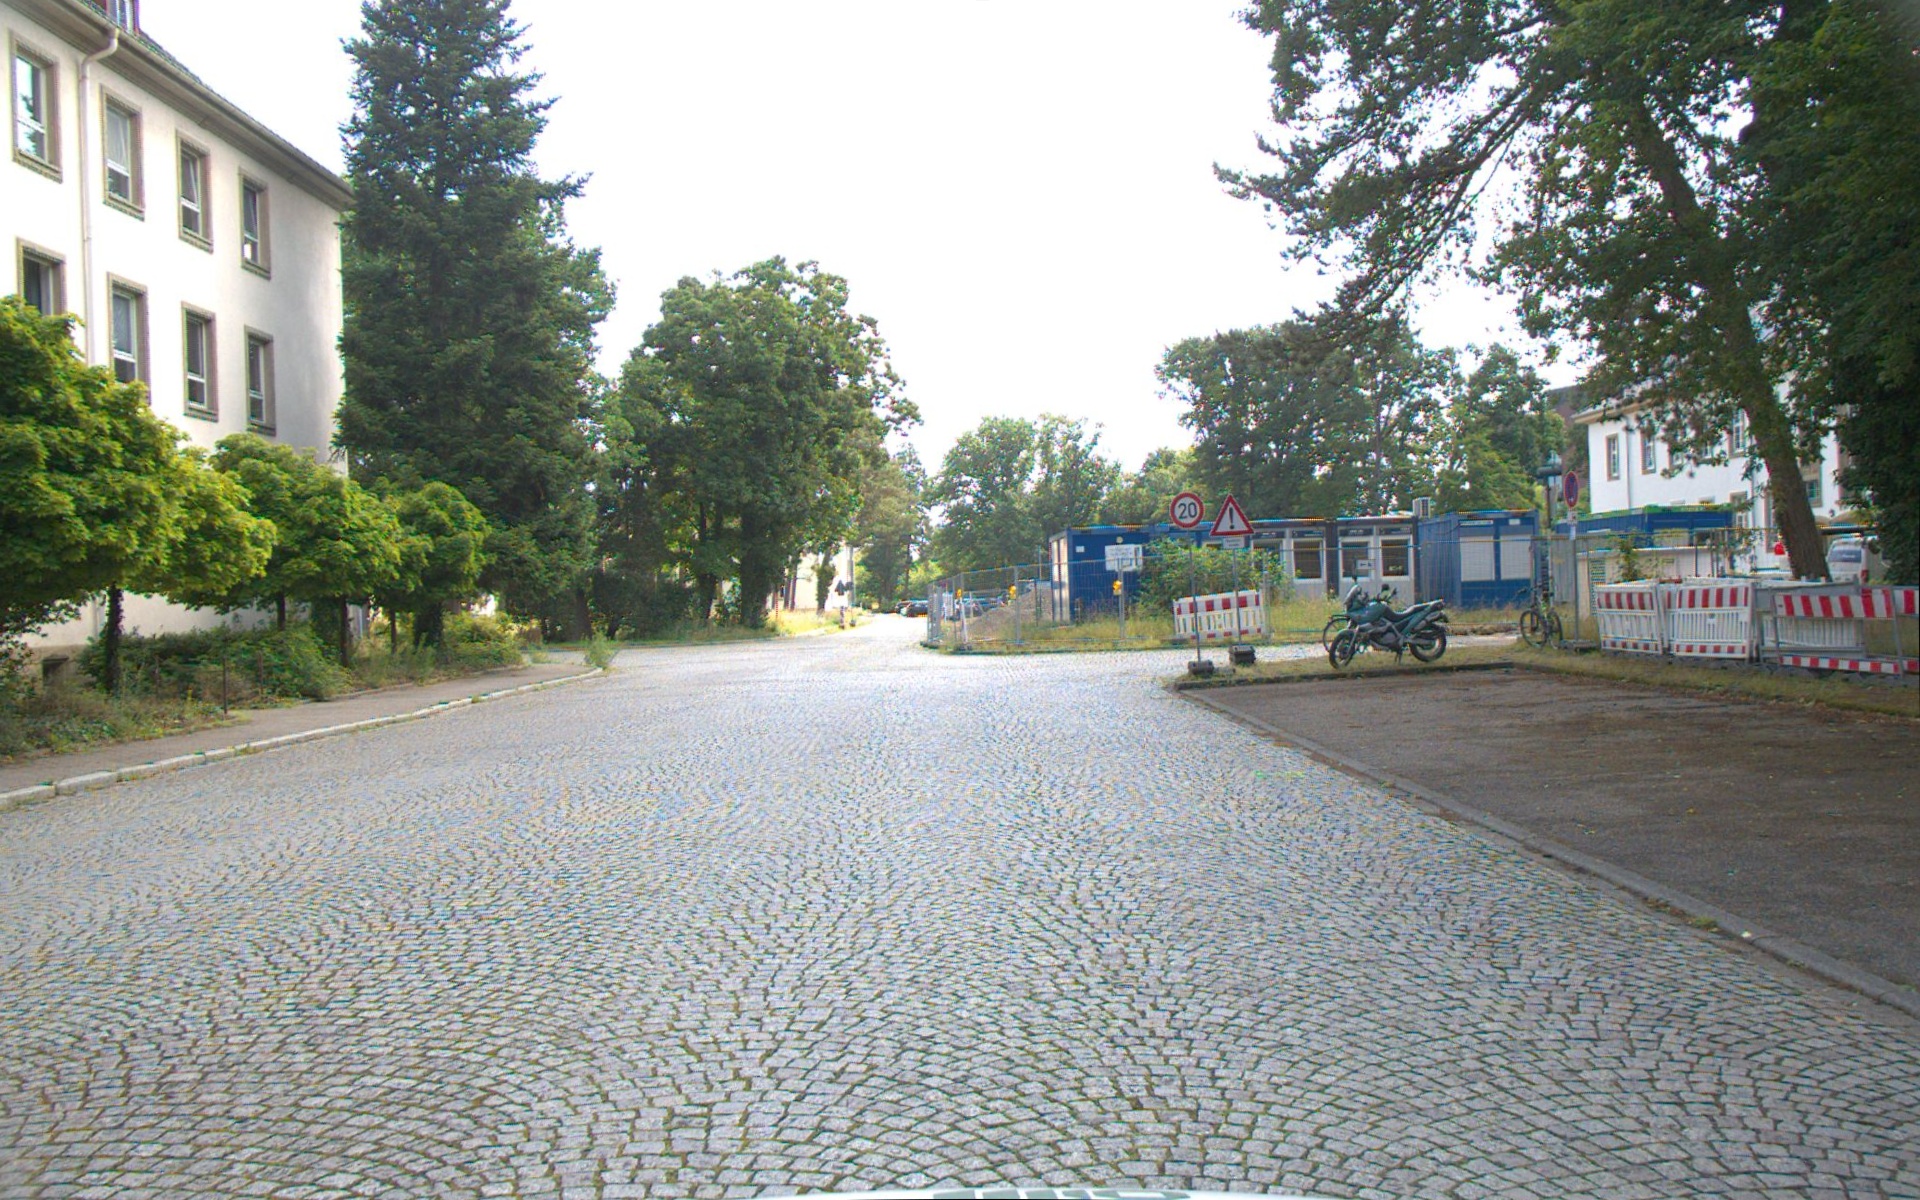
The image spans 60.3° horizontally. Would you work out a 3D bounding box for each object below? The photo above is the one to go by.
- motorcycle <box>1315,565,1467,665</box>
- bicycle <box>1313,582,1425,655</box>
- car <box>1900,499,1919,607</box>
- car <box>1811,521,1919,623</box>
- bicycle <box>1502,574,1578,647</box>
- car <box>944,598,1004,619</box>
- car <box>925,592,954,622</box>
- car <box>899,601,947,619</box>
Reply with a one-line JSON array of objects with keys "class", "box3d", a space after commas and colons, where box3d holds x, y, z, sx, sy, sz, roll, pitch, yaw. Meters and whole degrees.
[{"class": "motorcycle", "box3d": [7.070, 0.240, 27.164, 2.233, 1.511, 0.756, -3, 0, -6]}, {"class": "bicycle", "box3d": [7.331, 0.327, 29.662, 1.859, 1.218, 0.656, -3, 0, 19]}, {"class": "car", "box3d": [24.229, -1.164, 38.032, 1.952, 2.601, 5.910, -1, 0, 1]}, {"class": "car", "box3d": [20.138, -0.643, 33.543, 4.759, 1.954, 1.907, -2, 1, 0]}, {"class": "bicycle", "box3d": [10.052, 0.175, 28.729, 0.629, 1.189, 1.905, -3, 0, 1]}, {"class": "car", "box3d": [1.085, 0.622, 124.202, 4.309, 1.537, 2.001, -1, 0, 7]}, {"class": "car", "box3d": [-1.498, 0.472, 118.216, 1.953, 2.049, 4.089, -2, 0, -2]}, {"class": "car", "box3d": [-3.814, 1.040, 169.857, 4.688, 1.669, 1.997, -2, 0, -7]}]
